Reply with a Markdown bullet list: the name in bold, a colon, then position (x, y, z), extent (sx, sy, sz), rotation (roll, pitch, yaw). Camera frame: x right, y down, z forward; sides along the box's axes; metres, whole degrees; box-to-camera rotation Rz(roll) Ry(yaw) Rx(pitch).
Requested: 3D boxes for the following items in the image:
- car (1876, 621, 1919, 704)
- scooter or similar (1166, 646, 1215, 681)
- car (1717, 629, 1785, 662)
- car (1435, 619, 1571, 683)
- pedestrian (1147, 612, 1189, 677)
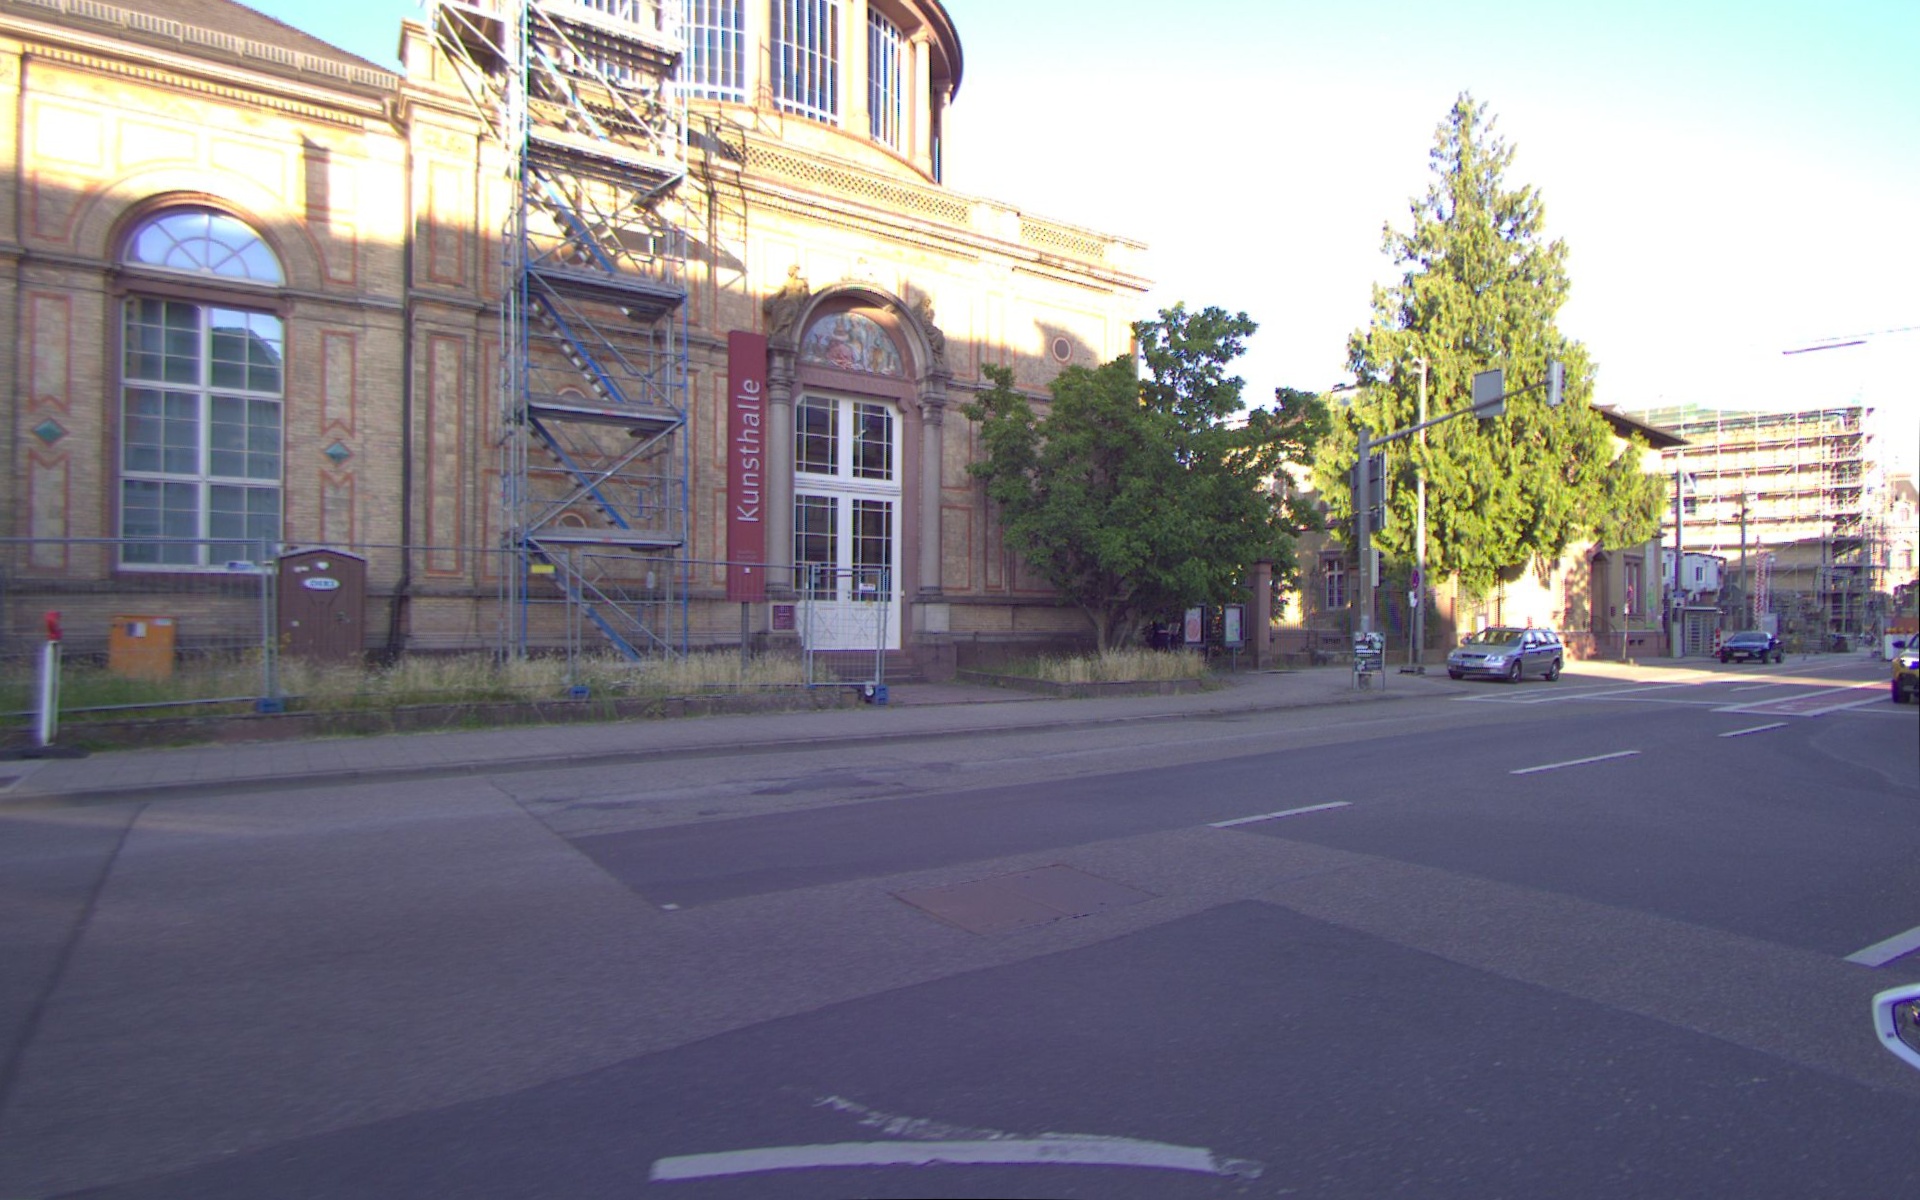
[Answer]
- **car**: position (19.786, 1.200, 19.913), extent (4.084, 1.568, 1.830), rotation (1, -2, -39)
- **scooter or similar**: position (5.638, 1.544, 24.591), extent (1.019, 0.788, 0.673), rotation (1, -1, -37)
- **car**: position (34.304, 1.963, 43.519), extent (3.857, 1.369, 1.665), rotation (2, -3, -42)
- **car**: position (14.977, 1.356, 27.608), extent (4.332, 1.568, 1.731), rotation (1, 0, -39)
- **pedestrian**: position (5.232, 1.106, 25.273), extent (0.755, 1.600, 0.730), rotation (1, -1, -36)
